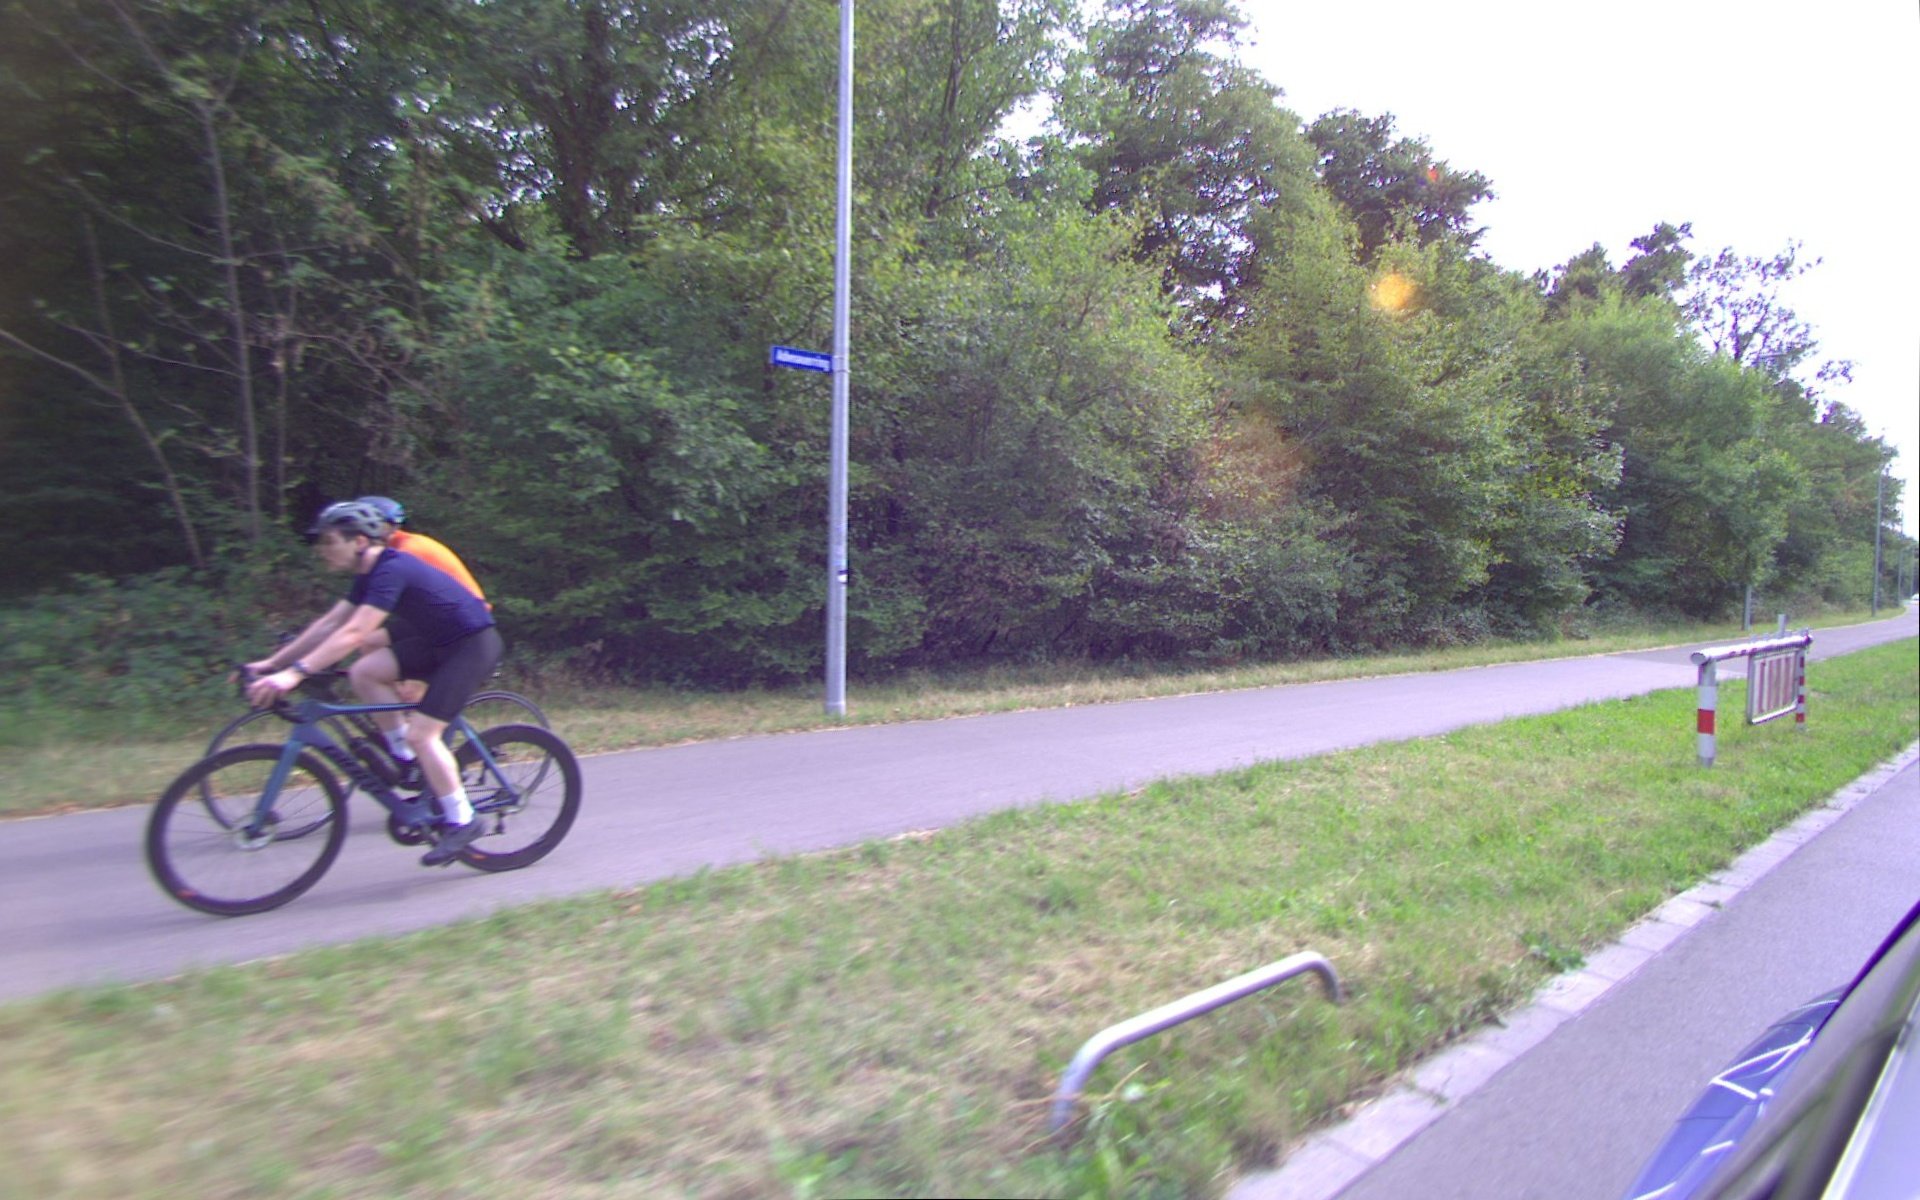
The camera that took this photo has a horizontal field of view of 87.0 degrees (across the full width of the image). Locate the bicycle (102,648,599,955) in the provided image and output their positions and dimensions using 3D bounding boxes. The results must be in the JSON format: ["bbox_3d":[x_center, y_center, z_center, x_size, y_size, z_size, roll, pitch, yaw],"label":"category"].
[{"bbox_3d":[-2.487,0.738,4.275,1.724,0.922,0.567,-1,4,-41],"label":"bicycle"}]

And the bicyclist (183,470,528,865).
[{"bbox_3d":[-2.501,0.227,4.242,1.166,1.433,0.521,-1,2,-41],"label":"bicyclist"}]

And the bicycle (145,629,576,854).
[{"bbox_3d":[-3.057,0.650,5.297,1.854,0.922,0.567,1,4,-41],"label":"bicycle"}]

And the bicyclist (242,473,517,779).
[{"bbox_3d":[-3.026,0.109,5.315,1.166,1.433,0.520,-1,0,-41],"label":"bicyclist"}]
